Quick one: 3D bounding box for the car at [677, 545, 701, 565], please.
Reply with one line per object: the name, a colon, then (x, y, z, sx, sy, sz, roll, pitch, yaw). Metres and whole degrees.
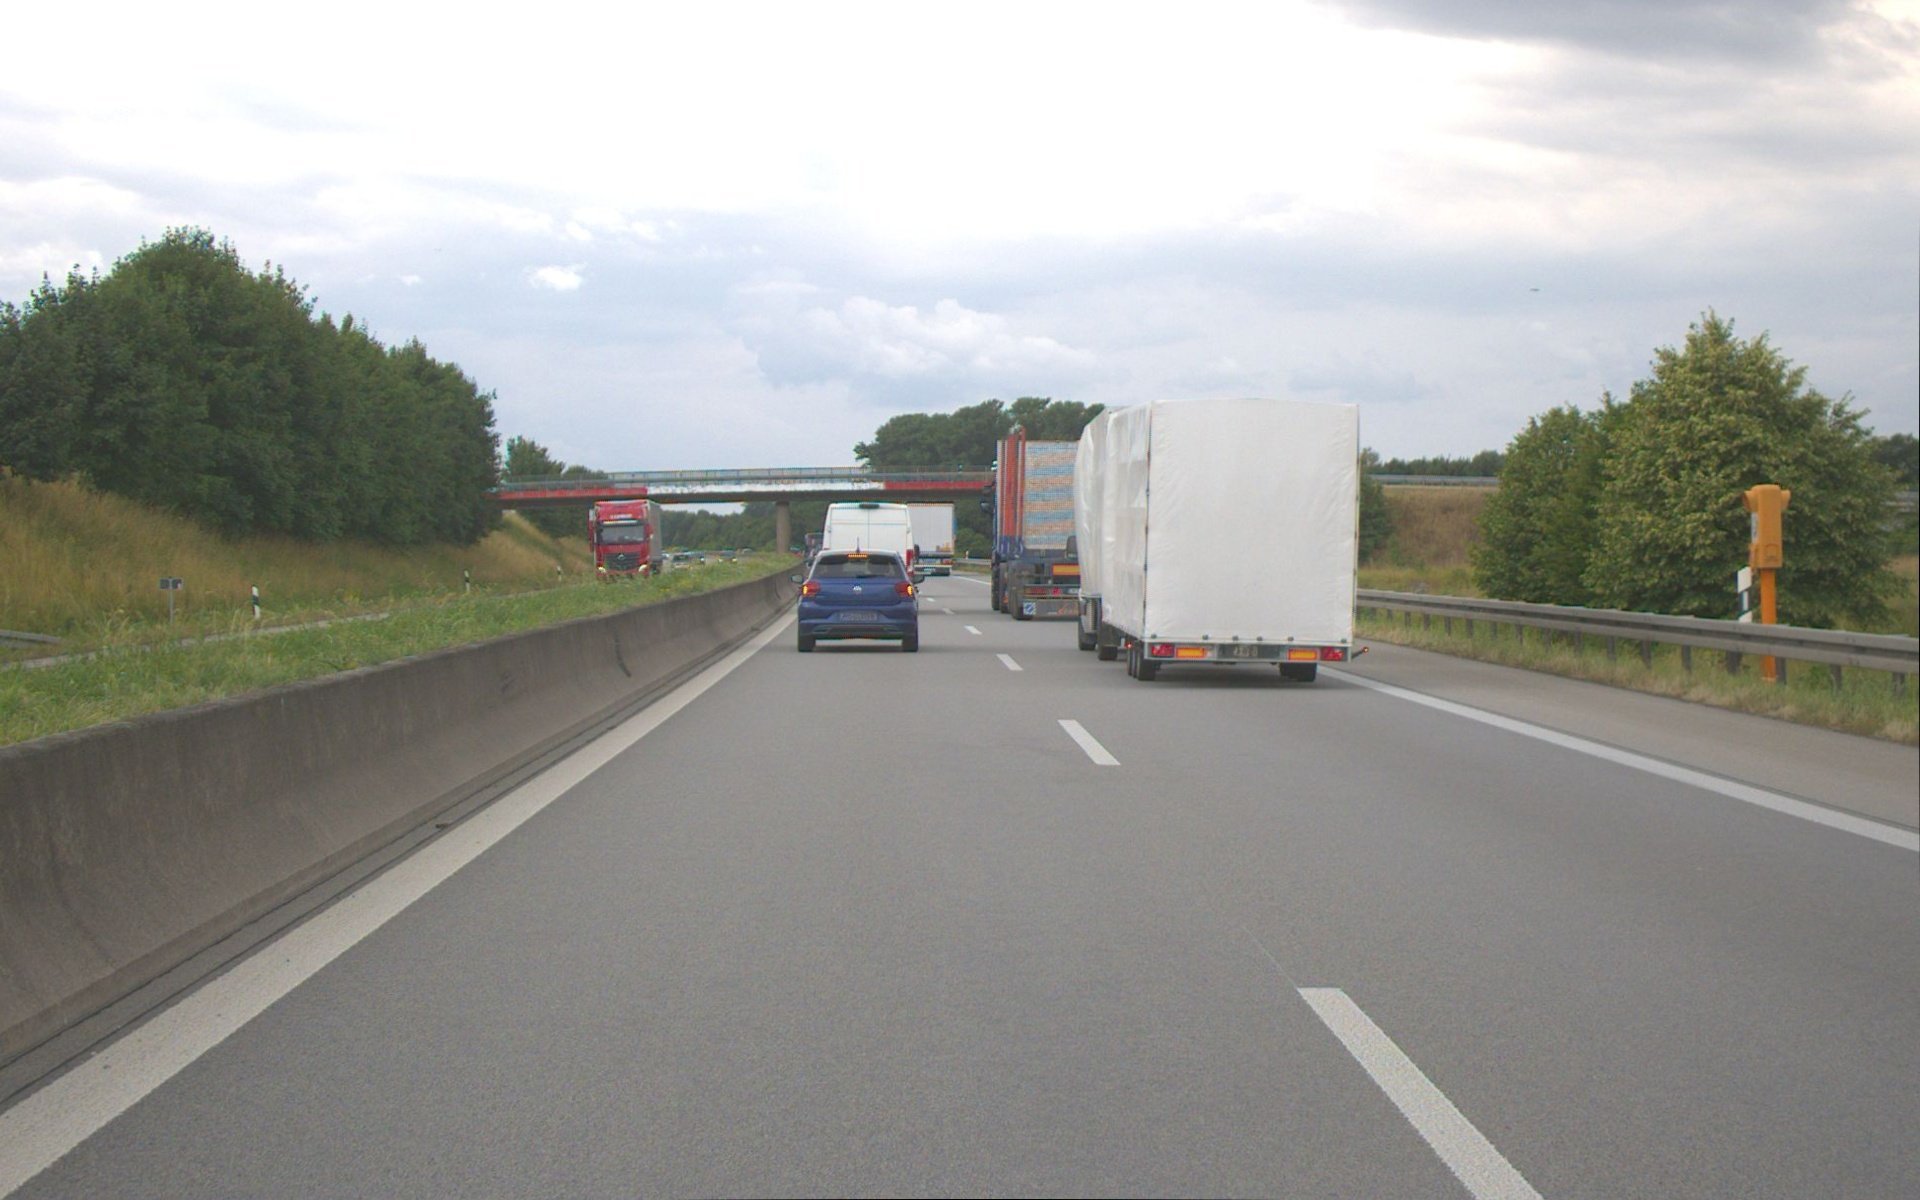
car: (-19.590, -3.257, 248.712, 1.646, 1.404, 3.889, -3, 1, -4)

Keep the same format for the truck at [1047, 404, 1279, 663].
truck: (2.635, -0.881, 46.588, 2.429, 3.232, 7.248, 0, 1, -2)

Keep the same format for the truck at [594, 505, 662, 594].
truck: (-15.844, -2.444, 164.331, 2.706, 4.074, 5.165, -2, 1, -2)

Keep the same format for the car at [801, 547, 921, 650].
car: (-1.414, -0.045, 49.422, 1.663, 1.402, 3.649, 0, 1, -1)

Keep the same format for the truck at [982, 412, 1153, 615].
truck: (2.194, -1.855, 74.391, 2.673, 4.032, 11.109, -1, 1, -3)

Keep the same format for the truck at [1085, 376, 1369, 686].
truck: (2.918, -0.765, 39.396, 2.415, 3.211, 7.144, 0, 1, -2)

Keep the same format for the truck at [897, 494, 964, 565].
truck: (-1.651, -3.830, 187.711, 3.110, 3.677, 9.324, -2, 1, -3)

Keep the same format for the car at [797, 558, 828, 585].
car: (-9.472, -1.846, 220.491, 1.993, 1.678, 4.000, 0, 1, -2)

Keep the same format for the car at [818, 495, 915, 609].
car: (-2.172, -1.093, 78.333, 2.130, 2.474, 5.840, 0, 1, -2)

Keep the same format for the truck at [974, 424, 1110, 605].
truck: (1.846, -1.981, 79.881, 2.673, 4.032, 5.513, -1, 1, -3)

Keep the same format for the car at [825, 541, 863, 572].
car: (-6.295, -2.371, 186.193, 1.935, 1.638, 4.904, 0, 1, -4)
